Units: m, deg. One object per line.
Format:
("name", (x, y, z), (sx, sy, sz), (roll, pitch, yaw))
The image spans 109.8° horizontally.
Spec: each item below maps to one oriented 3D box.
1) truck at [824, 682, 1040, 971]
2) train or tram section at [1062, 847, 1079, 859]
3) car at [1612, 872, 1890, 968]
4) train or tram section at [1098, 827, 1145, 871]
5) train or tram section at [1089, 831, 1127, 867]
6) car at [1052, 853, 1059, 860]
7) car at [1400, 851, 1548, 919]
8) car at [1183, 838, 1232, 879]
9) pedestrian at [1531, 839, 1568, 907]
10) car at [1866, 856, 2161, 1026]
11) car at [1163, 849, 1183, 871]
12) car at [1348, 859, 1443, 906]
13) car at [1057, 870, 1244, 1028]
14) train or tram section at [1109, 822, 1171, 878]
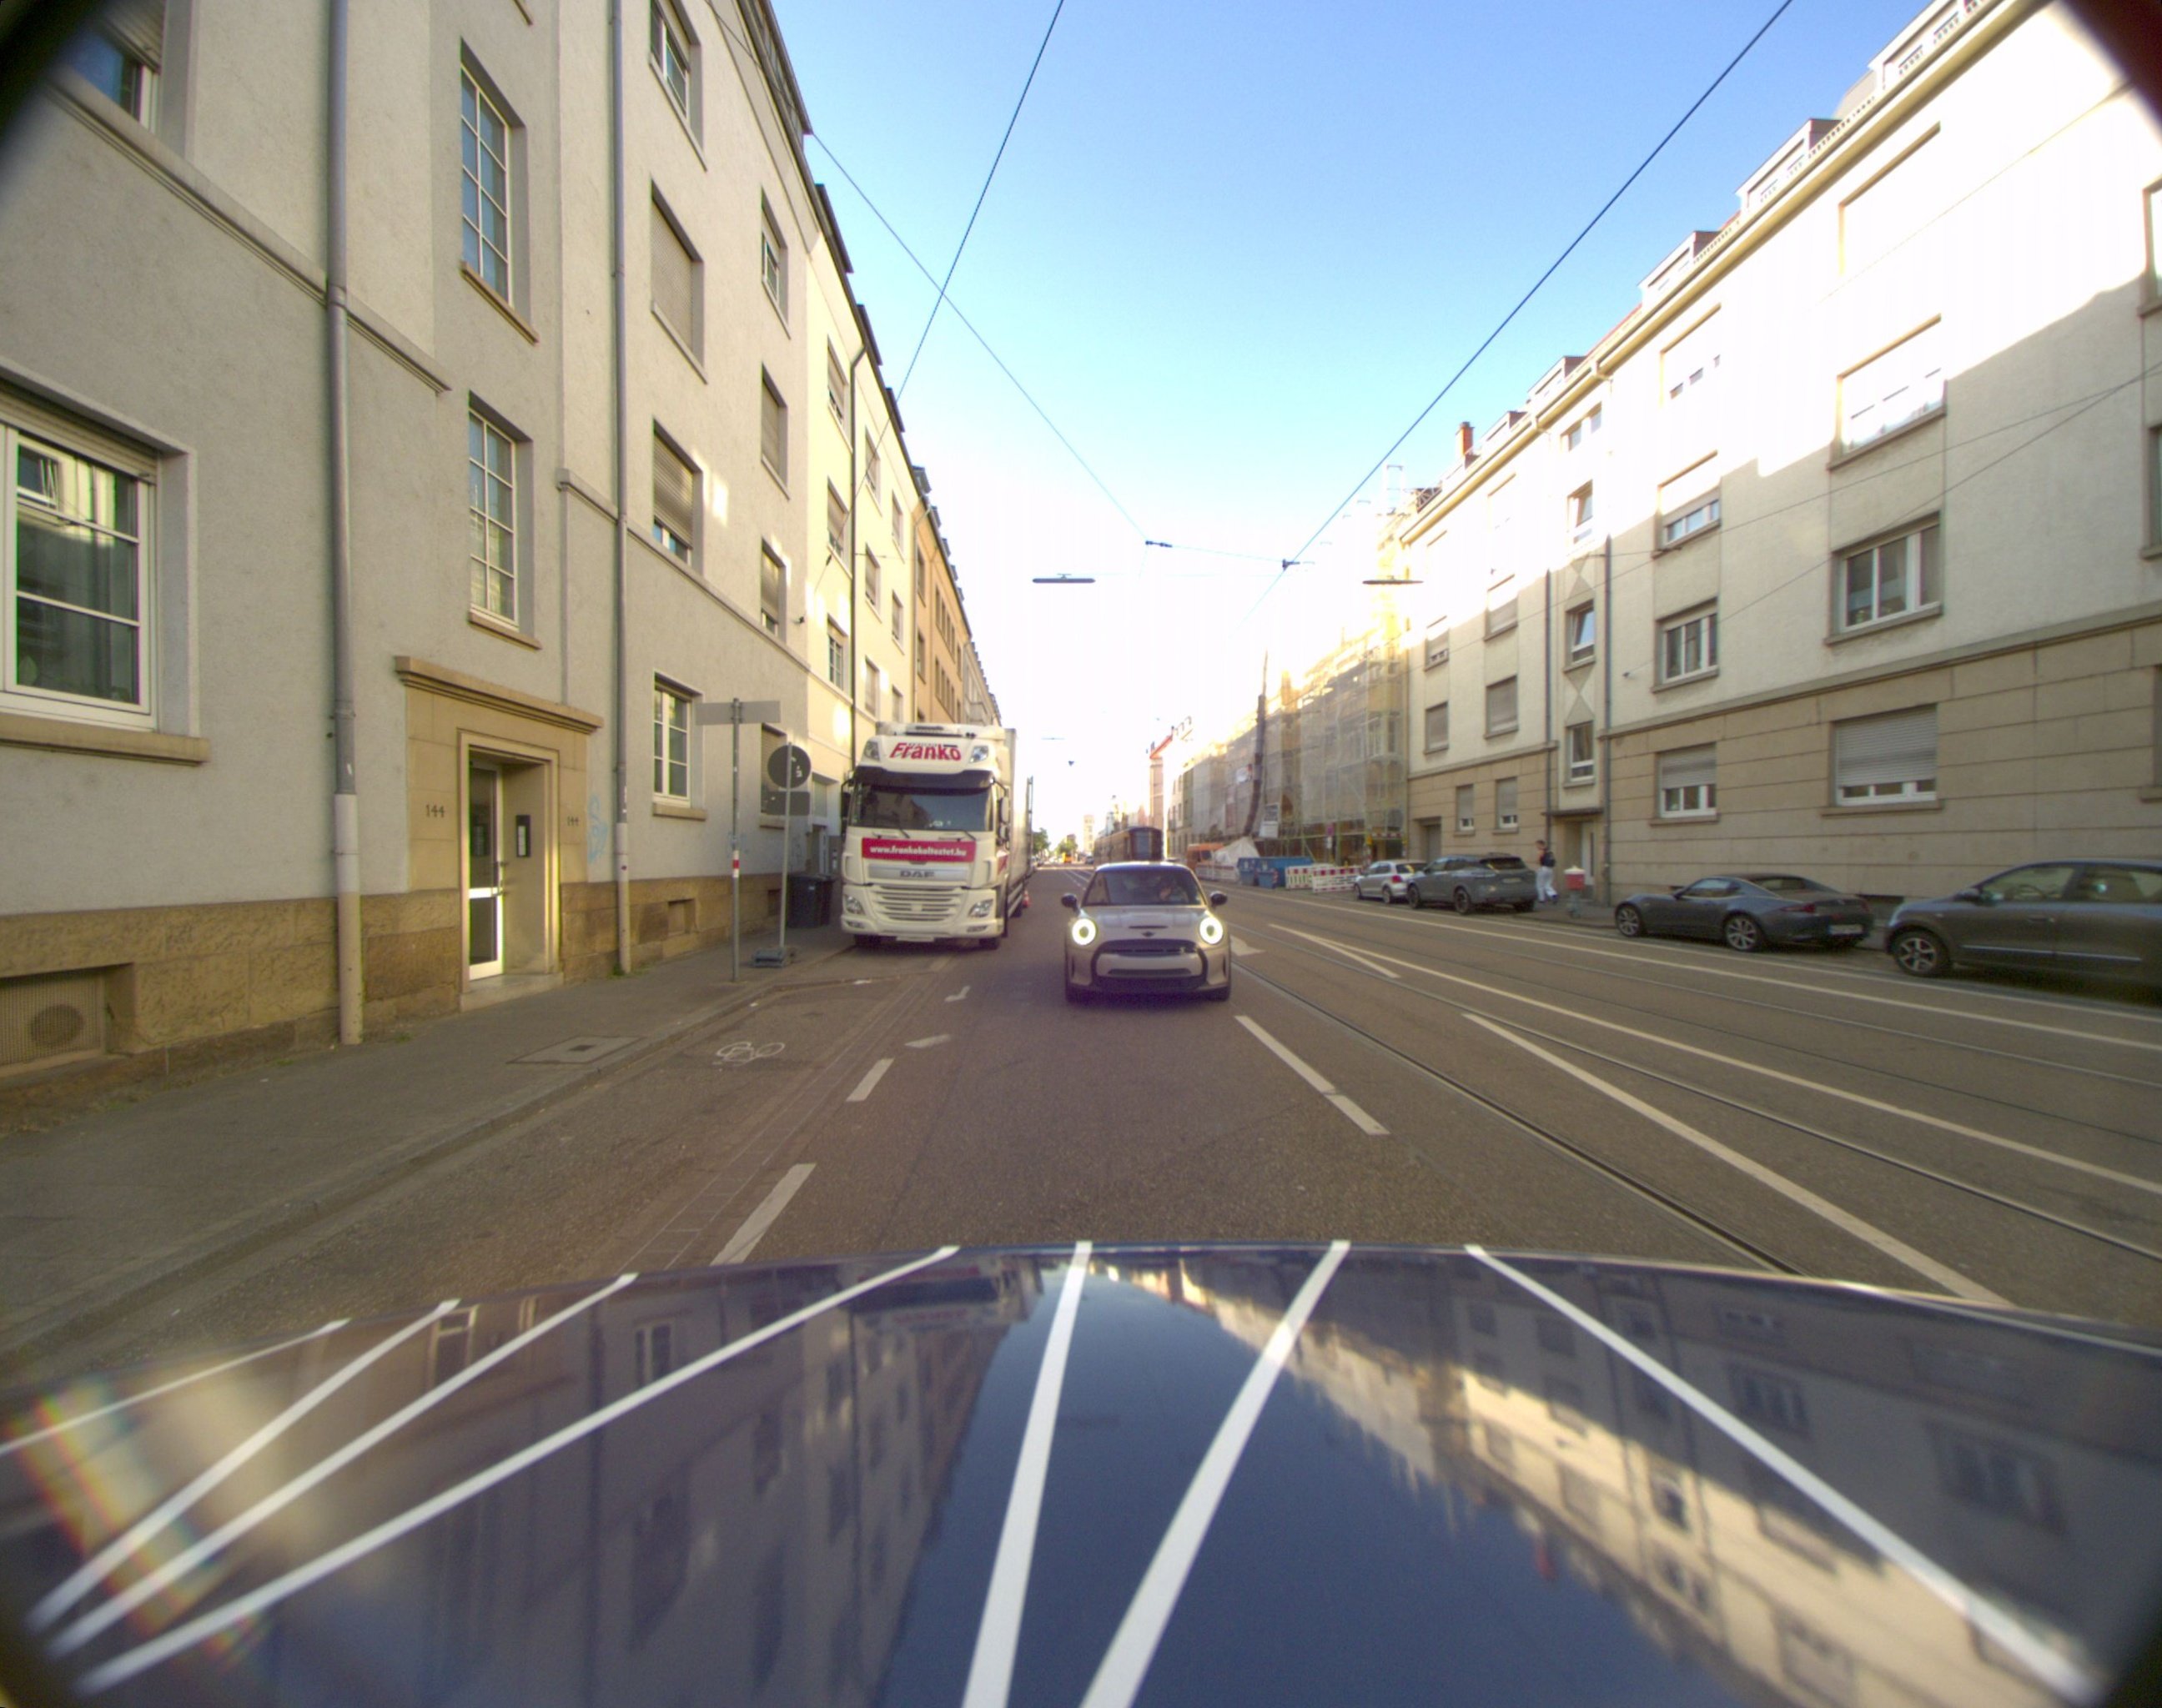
("truck", (-2.500, -0.500, 17.045), (2.700, 4.214, 11.773), (0, 1, -1))
("train or tram section", (-3.450, -0.343, 240.691), (3.881, 3.616, 14.401), (-2, 1, -7))
("car", (11.120, 1.011, 12.963), (1.476, 1.212, 3.522), (-3, 1, -4))
("train or tram section", (3.377, -0.446, 67.730), (2.867, 3.542, 13.330), (0, 1, -3))
("train or tram section", (2.727, -0.571, 81.066), (2.867, 3.542, 13.330), (0, 1, -3))
("car", (-7.901, 0.731, 234.444), (1.999, 1.871, 4.269), (-2, 1, -4))
("car", (10.816, 0.783, 21.286), (1.752, 1.600, 4.157), (-3, 1, -4))
("car", (8.800, 0.260, 53.356), (2.215, 2.681, 5.871), (-2, 1, -2))
("pedestrian", (13.172, 0.515, 21.374), (0.519, 1.861, 0.762), (-2, 1, -2))
("car", (11.357, 0.860, 8.347), (1.644, 1.549, 3.594), (-3, 1, -2))
("car", (8.594, 0.552, 71.036), (1.658, 1.911, 3.766), (-2, 1, 5))
("car", (10.589, 0.906, 25.831), (1.565, 1.372, 3.506), (-3, 1, -4))
("car", (0.641, 0.923, 8.990), (1.727, 1.416, 3.817), (0, -1, 0))
("train or tram section", (3.975, -0.323, 54.547), (2.867, 3.542, 13.038), (0, 1, -3))
